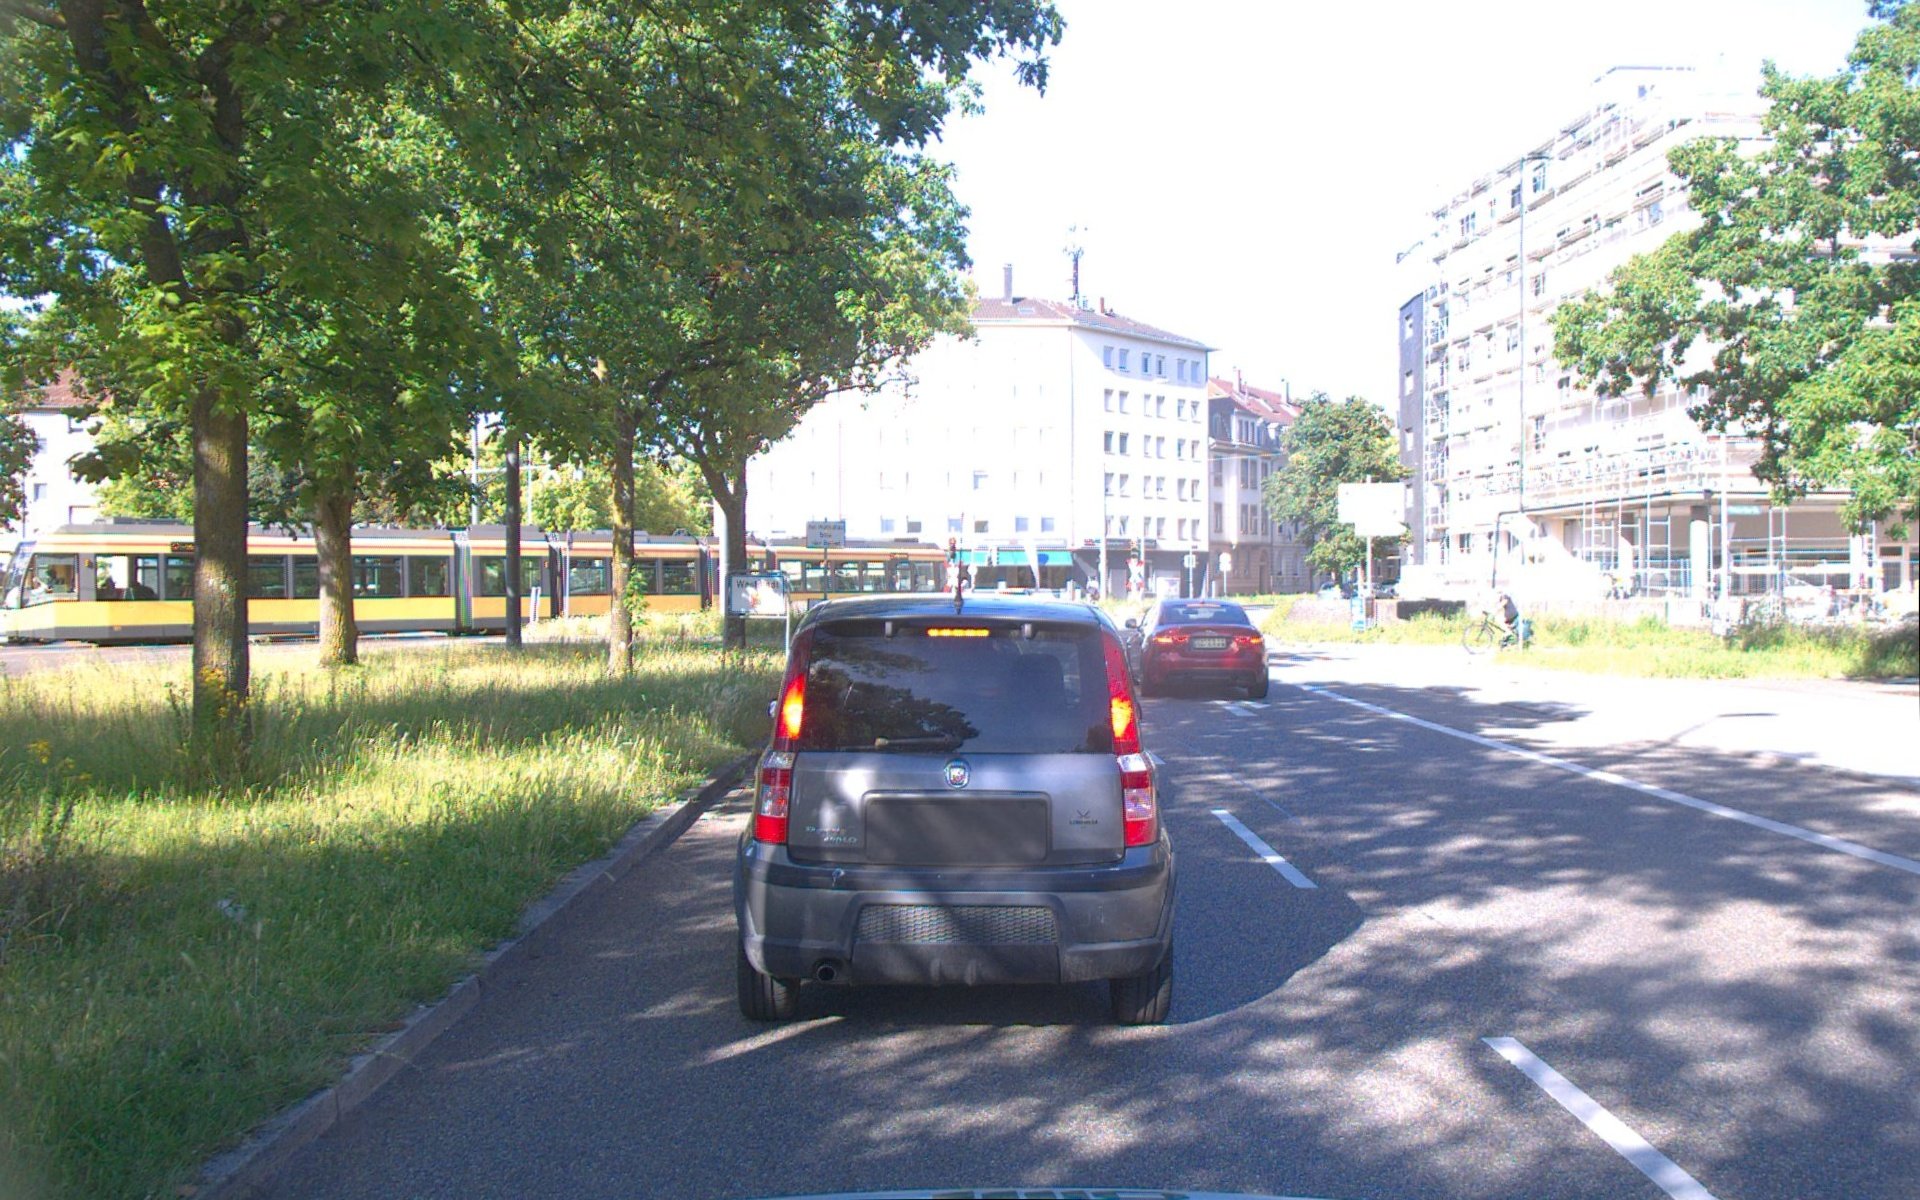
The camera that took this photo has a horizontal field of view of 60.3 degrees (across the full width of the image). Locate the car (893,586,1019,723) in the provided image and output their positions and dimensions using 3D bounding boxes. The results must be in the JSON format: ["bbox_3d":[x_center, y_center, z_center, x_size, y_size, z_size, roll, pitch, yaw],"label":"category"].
[{"bbox_3d":[-0.071,0.607,20.668,1.434,1.534,3.504,0,1,-1],"label":"car"}]

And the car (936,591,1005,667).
[{"bbox_3d":[0.179,0.559,33.856,1.328,1.475,3.265,0,0,-1],"label":"car"}]

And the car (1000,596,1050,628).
[{"bbox_3d":[2.286,0.405,57.698,1.118,1.083,2.723,0,1,17],"label":"car"}]

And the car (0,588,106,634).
[{"bbox_3d":[-35.801,0.387,64.512,1.961,1.713,3.983,0,1,38],"label":"car"}]

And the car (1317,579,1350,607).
[{"bbox_3d":[20.508,-0.390,90.708,1.646,1.475,3.574,0,1,15],"label":"car"}]

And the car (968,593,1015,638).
[{"bbox_3d":[0.920,0.447,49.608,1.328,1.304,2.875,0,1,-1],"label":"car"}]

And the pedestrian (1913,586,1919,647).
[{"bbox_3d":[23.700,0.388,39.855,0.877,1.472,0.962,0,0,-15],"label":"pedestrian"}]

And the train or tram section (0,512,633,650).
[{"bbox_3d":[-19.106,-0.614,50.603,19.236,3.574,3.253,-1,1,-44],"label":"train or tram section"}]

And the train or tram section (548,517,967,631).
[{"bbox_3d":[-7.022,-1.000,65.054,3.240,3.836,20.732,0,1,36],"label":"train or tram section"}]

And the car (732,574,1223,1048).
[{"bbox_3d":[0.031,0.663,7.408,1.595,1.534,3.999,0,1,-1],"label":"car"}]

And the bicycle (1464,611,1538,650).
[{"bbox_3d":[13.616,0.757,41.667,1.751,0.961,0.560,0,0,14],"label":"bicycle"}]

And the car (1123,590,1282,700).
[{"bbox_3d":[3.587,0.607,25.189,1.848,1.453,4.387,-1,1,1],"label":"car"}]

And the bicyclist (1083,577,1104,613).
[{"bbox_3d":[5.394,-0.202,66.850,0.726,1.463,0.845,1,0,-2],"label":"bicyclist"}]

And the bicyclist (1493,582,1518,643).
[{"bbox_3d":[13.737,0.305,41.669,0.571,1.519,0.551,0,0,14],"label":"bicyclist"}]

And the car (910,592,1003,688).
[{"bbox_3d":[-0.079,0.613,27.249,1.434,1.449,3.381,0,1,-1],"label":"car"}]

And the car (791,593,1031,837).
[{"bbox_3d":[-0.318,0.684,11.624,1.434,1.425,3.393,0,1,-1],"label":"car"}]

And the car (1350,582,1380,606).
[{"bbox_3d":[23.118,-0.335,94.374,1.495,1.337,3.289,0,1,17],"label":"car"}]

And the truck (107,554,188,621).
[{"bbox_3d":[-35.741,-0.546,72.686,3.932,2.854,1.987,0,1,44],"label":"truck"}]

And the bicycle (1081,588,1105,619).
[{"bbox_3d":[5.392,0.152,67.055,0.694,1.219,2.519,1,0,-2],"label":"bicycle"}]
